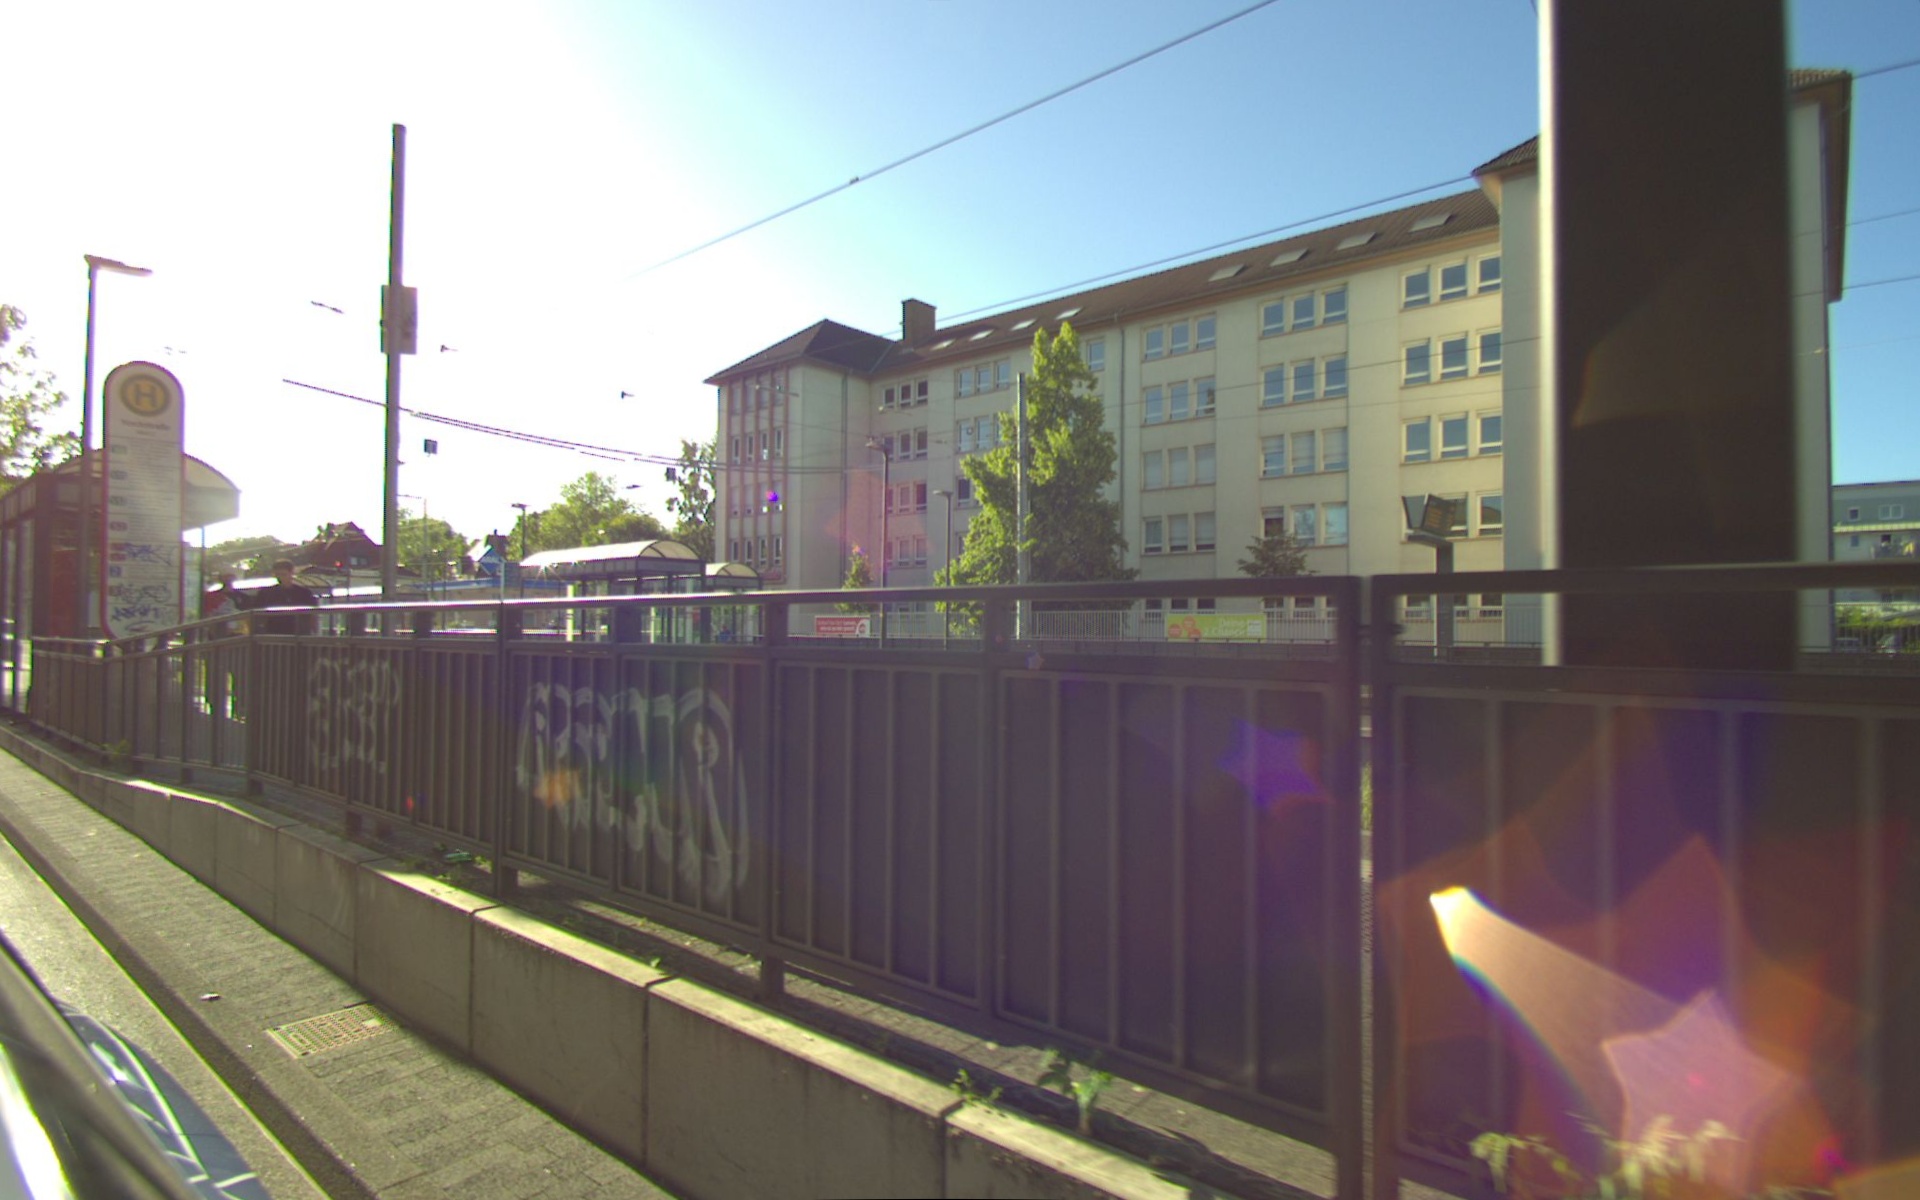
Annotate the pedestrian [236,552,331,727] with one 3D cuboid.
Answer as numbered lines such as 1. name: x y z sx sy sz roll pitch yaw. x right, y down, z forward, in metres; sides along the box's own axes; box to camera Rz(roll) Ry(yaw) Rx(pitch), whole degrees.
1. pedestrian: -7.276 0.416 10.886 0.754 1.797 0.674 -2 -2 42

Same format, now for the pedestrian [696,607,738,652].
1. pedestrian: -7.629 0.935 31.770 0.878 1.386 0.965 -2 -2 40

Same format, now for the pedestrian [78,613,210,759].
1. pedestrian: -7.089 0.712 8.797 0.812 1.188 0.744 -1 -2 40

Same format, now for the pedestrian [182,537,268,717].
1. pedestrian: -8.623 0.315 11.873 0.716 2.029 0.660 -2 -2 42
